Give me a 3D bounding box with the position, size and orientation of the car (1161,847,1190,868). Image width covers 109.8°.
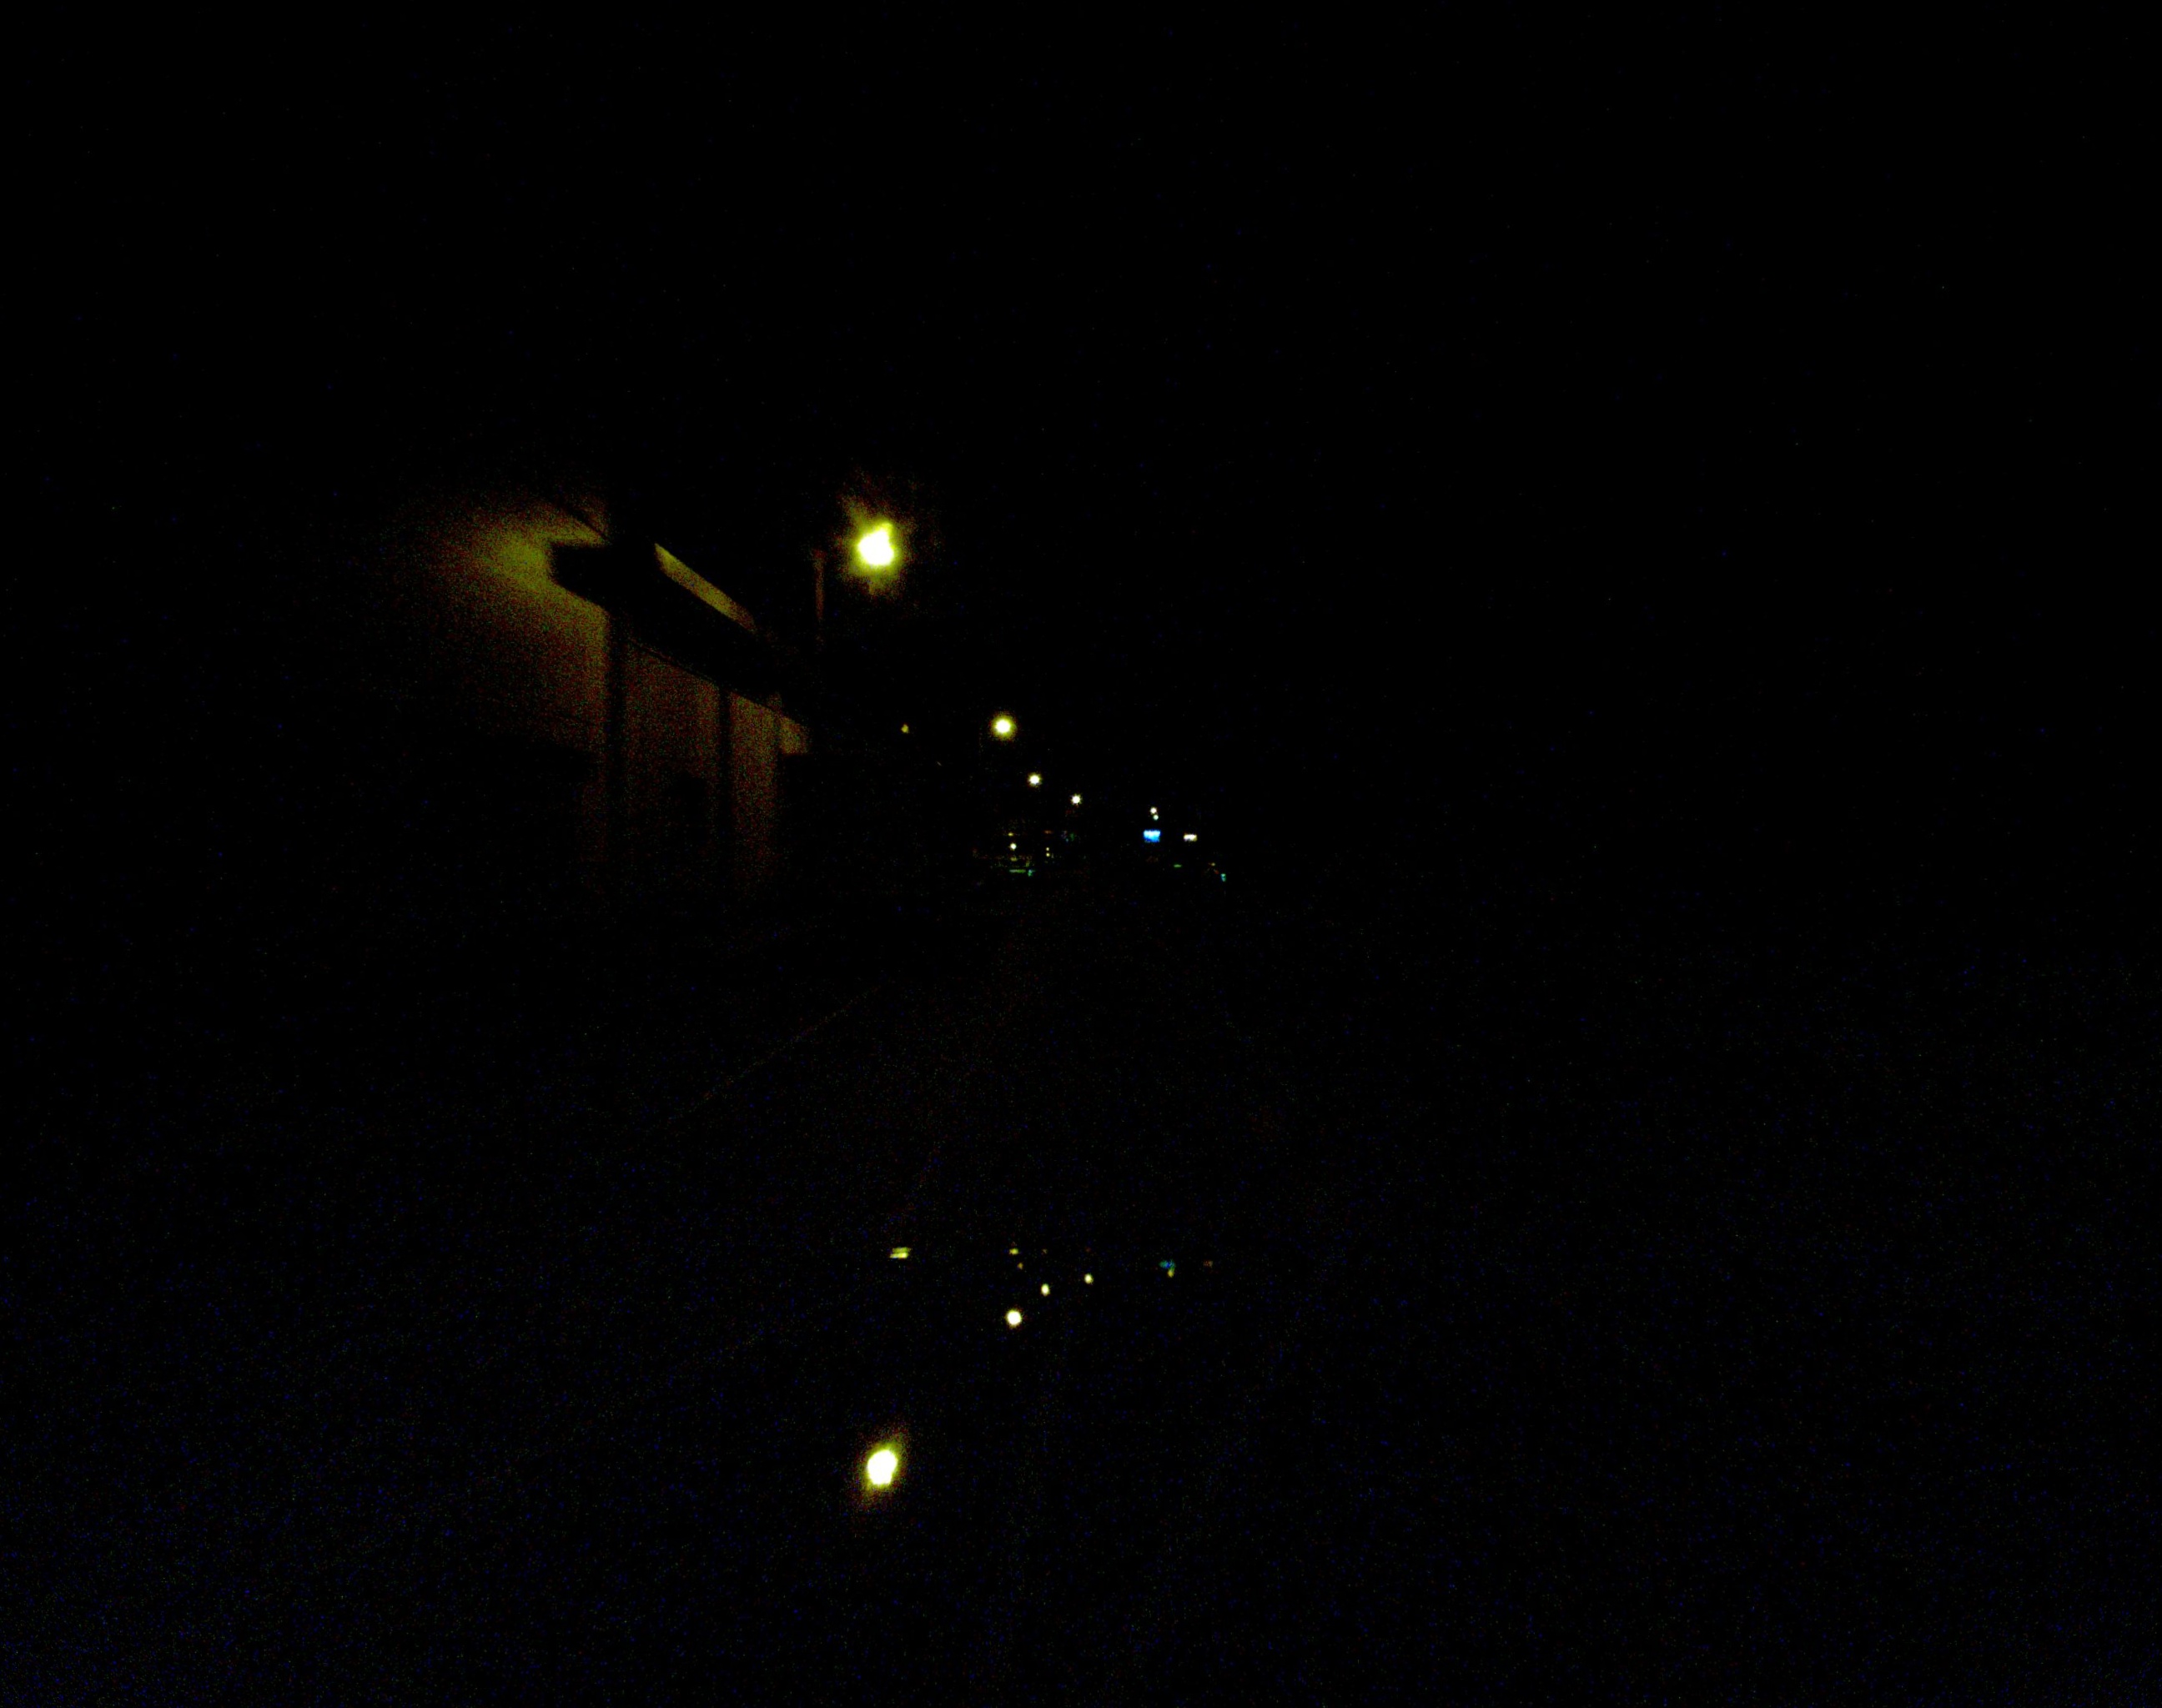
[{"bbox_3d":[7.020,0.242,56.719,1.690,1.357,3.878,-2,1,1],"label":"car"}]

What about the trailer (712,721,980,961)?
[{"bbox_3d":[-3.994,-0.237,15.307,2.885,3.504,8.281,-1,1,-1],"label":"trailer"}]

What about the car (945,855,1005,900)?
[{"bbox_3d":[-3.899,0.825,28.385,1.685,1.551,3.476,-1,1,1],"label":"car"}]

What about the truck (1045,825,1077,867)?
[{"bbox_3d":[-1.940,-0.694,77.358,2.660,3.851,10.232,-2,-1,1],"label":"truck"}]

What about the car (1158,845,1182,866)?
[{"bbox_3d":[7.243,0.073,62.038,1.590,1.591,3.780,-2,1,1],"label":"car"}]

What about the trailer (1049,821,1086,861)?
[{"bbox_3d":[-1.466,-1.659,94.498,3.072,4.449,13.412,-2,1,5],"label":"trailer"}]

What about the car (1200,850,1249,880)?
[{"bbox_3d":[7.067,0.491,37.797,1.761,1.382,4.308,-1,1,2],"label":"car"}]

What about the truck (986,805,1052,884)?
[{"bbox_3d":[-3.395,-0.510,44.160,2.797,3.947,9.820,-2,0,1],"label":"truck"}]

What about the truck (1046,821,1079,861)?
[{"bbox_3d":[-2.064,-1.526,87.761,3.072,4.449,5.635,-2,1,5],"label":"truck"}]
